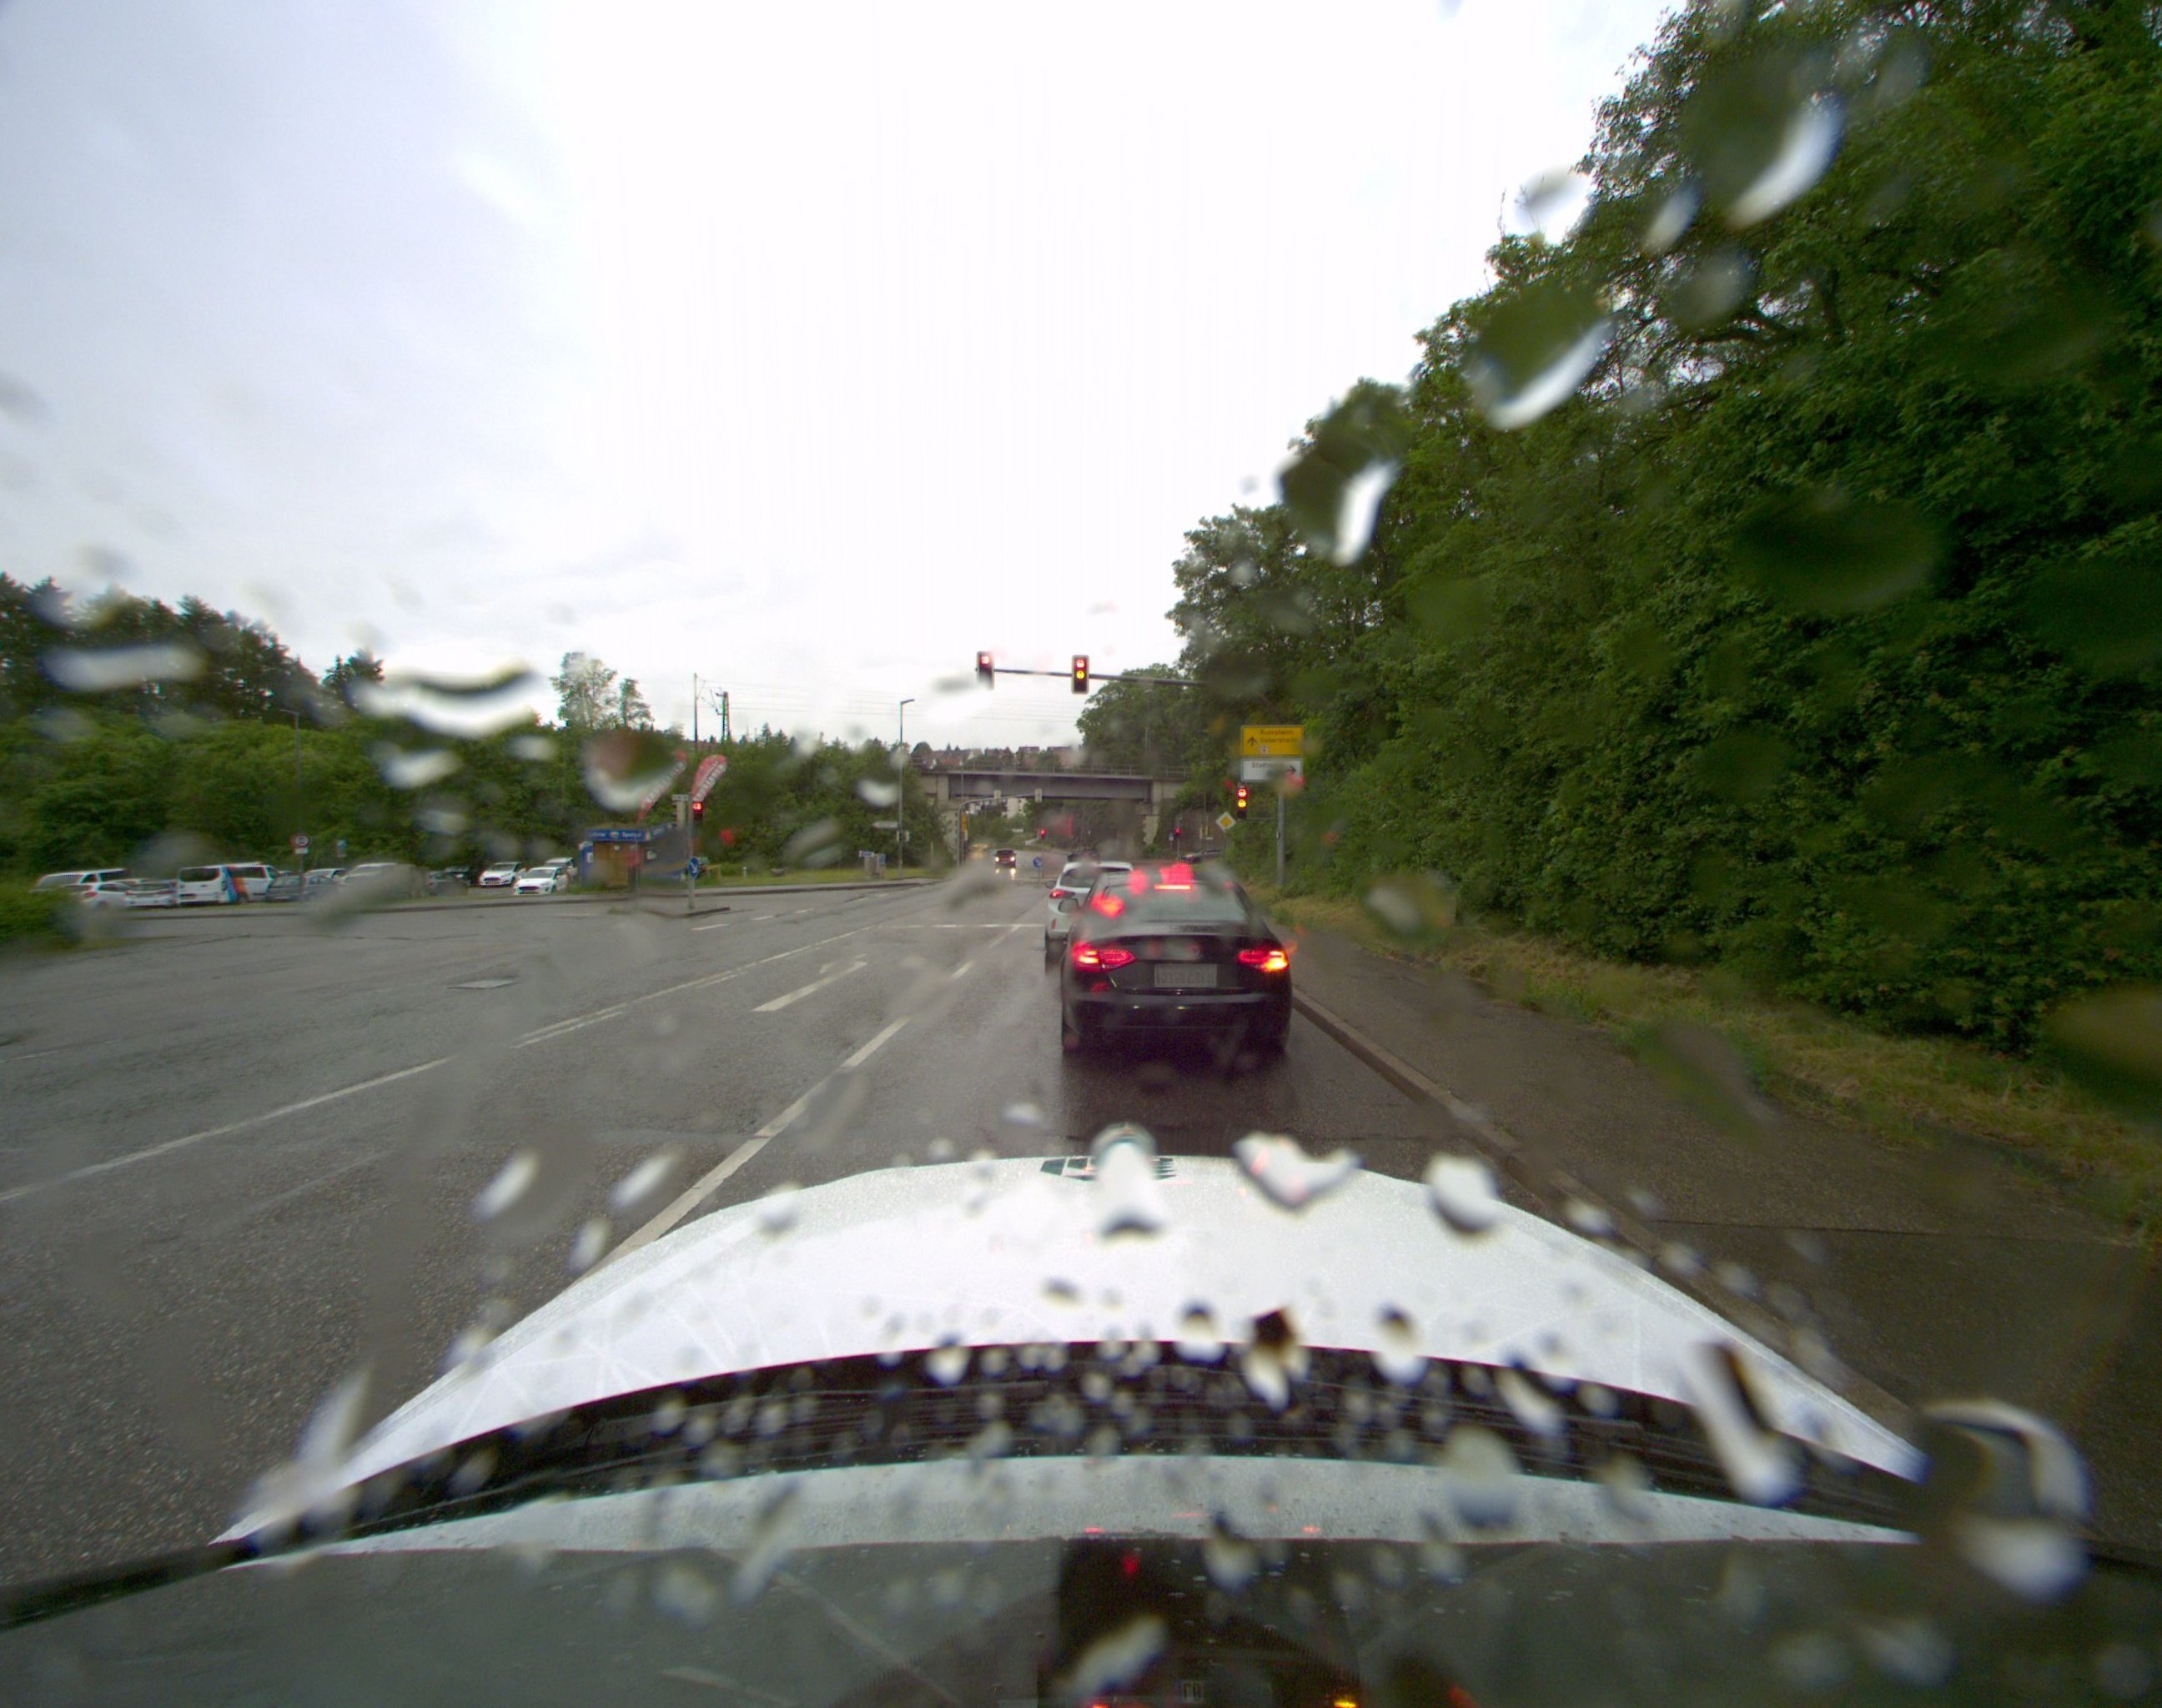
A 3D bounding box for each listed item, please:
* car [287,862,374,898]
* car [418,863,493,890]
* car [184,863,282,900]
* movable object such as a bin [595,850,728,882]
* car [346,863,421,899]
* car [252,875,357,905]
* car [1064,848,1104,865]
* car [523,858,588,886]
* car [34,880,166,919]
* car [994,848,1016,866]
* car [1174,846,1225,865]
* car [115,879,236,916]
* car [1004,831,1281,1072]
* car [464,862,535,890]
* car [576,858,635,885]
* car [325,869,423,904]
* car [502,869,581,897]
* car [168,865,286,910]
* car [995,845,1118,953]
[{"bbox_3d":[-44.780,1.521,48.700,1.995,2.013,3.983,-2,0,-12],"label":"car"},{"bbox_3d":[-37.960,1.364,49.562,1.994,1.585,3.984,0,-1,-11],"label":"car"},{"bbox_3d":[-49.287,1.550,47.441,1.995,2.013,3.983,-2,0,-12],"label":"car"},{"bbox_3d":[-22.517,0.628,43.911,2.716,1.628,5.816,-2,-1,41],"label":"movable object such as a bin"},{"bbox_3d":[-42.180,1.591,49.378,1.941,2.013,3.849,0,0,-15],"label":"car"},{"bbox_3d":[-37.174,1.701,39.123,1.751,1.310,3.984,0,-1,-11],"label":"car"},{"bbox_3d":[0.240,0.278,79.429,2.008,1.596,3.959,-2,0,-33],"label":"car"},{"bbox_3d":[-32.623,1.078,50.724,1.994,1.585,3.985,-2,0,-11],"label":"car"},{"bbox_3d":[-44.373,2.005,36.993,1.837,1.585,3.978,0,-1,-16],"label":"car"},{"bbox_3d":[-6.993,0.268,75.257,1.990,1.628,3.993,-1,0,-5],"label":"car"},{"bbox_3d":[9.947,0.106,68.245,3.978,1.470,1.643,1,0,-3],"label":"car"},{"bbox_3d":[-41.738,1.968,37.701,1.858,1.585,3.978,0,-1,-16],"label":"car"},{"bbox_3d":[0.473,0.699,7.540,1.863,1.617,4.001,-1,-1,2],"label":"car"},{"bbox_3d":[-35.485,1.339,49.816,1.994,1.585,3.984,0,-1,-11],"label":"car"},{"bbox_3d":[-30.387,1.079,52.126,1.994,1.585,3.985,-2,0,-11],"label":"car"},{"bbox_3d":[-34.639,1.552,40.056,1.937,1.585,3.892,0,-1,-11],"label":"car"},{"bbox_3d":[-27.840,1.484,42.221,1.652,1.340,4.883,0,-1,-11],"label":"car"},{"bbox_3d":[-39.452,1.494,37.780,1.997,1.949,3.978,0,-1,-16],"label":"car"},{"bbox_3d":[-0.303,0.708,14.088,1.816,1.585,4.001,-1,-1,2],"label":"car"}]
